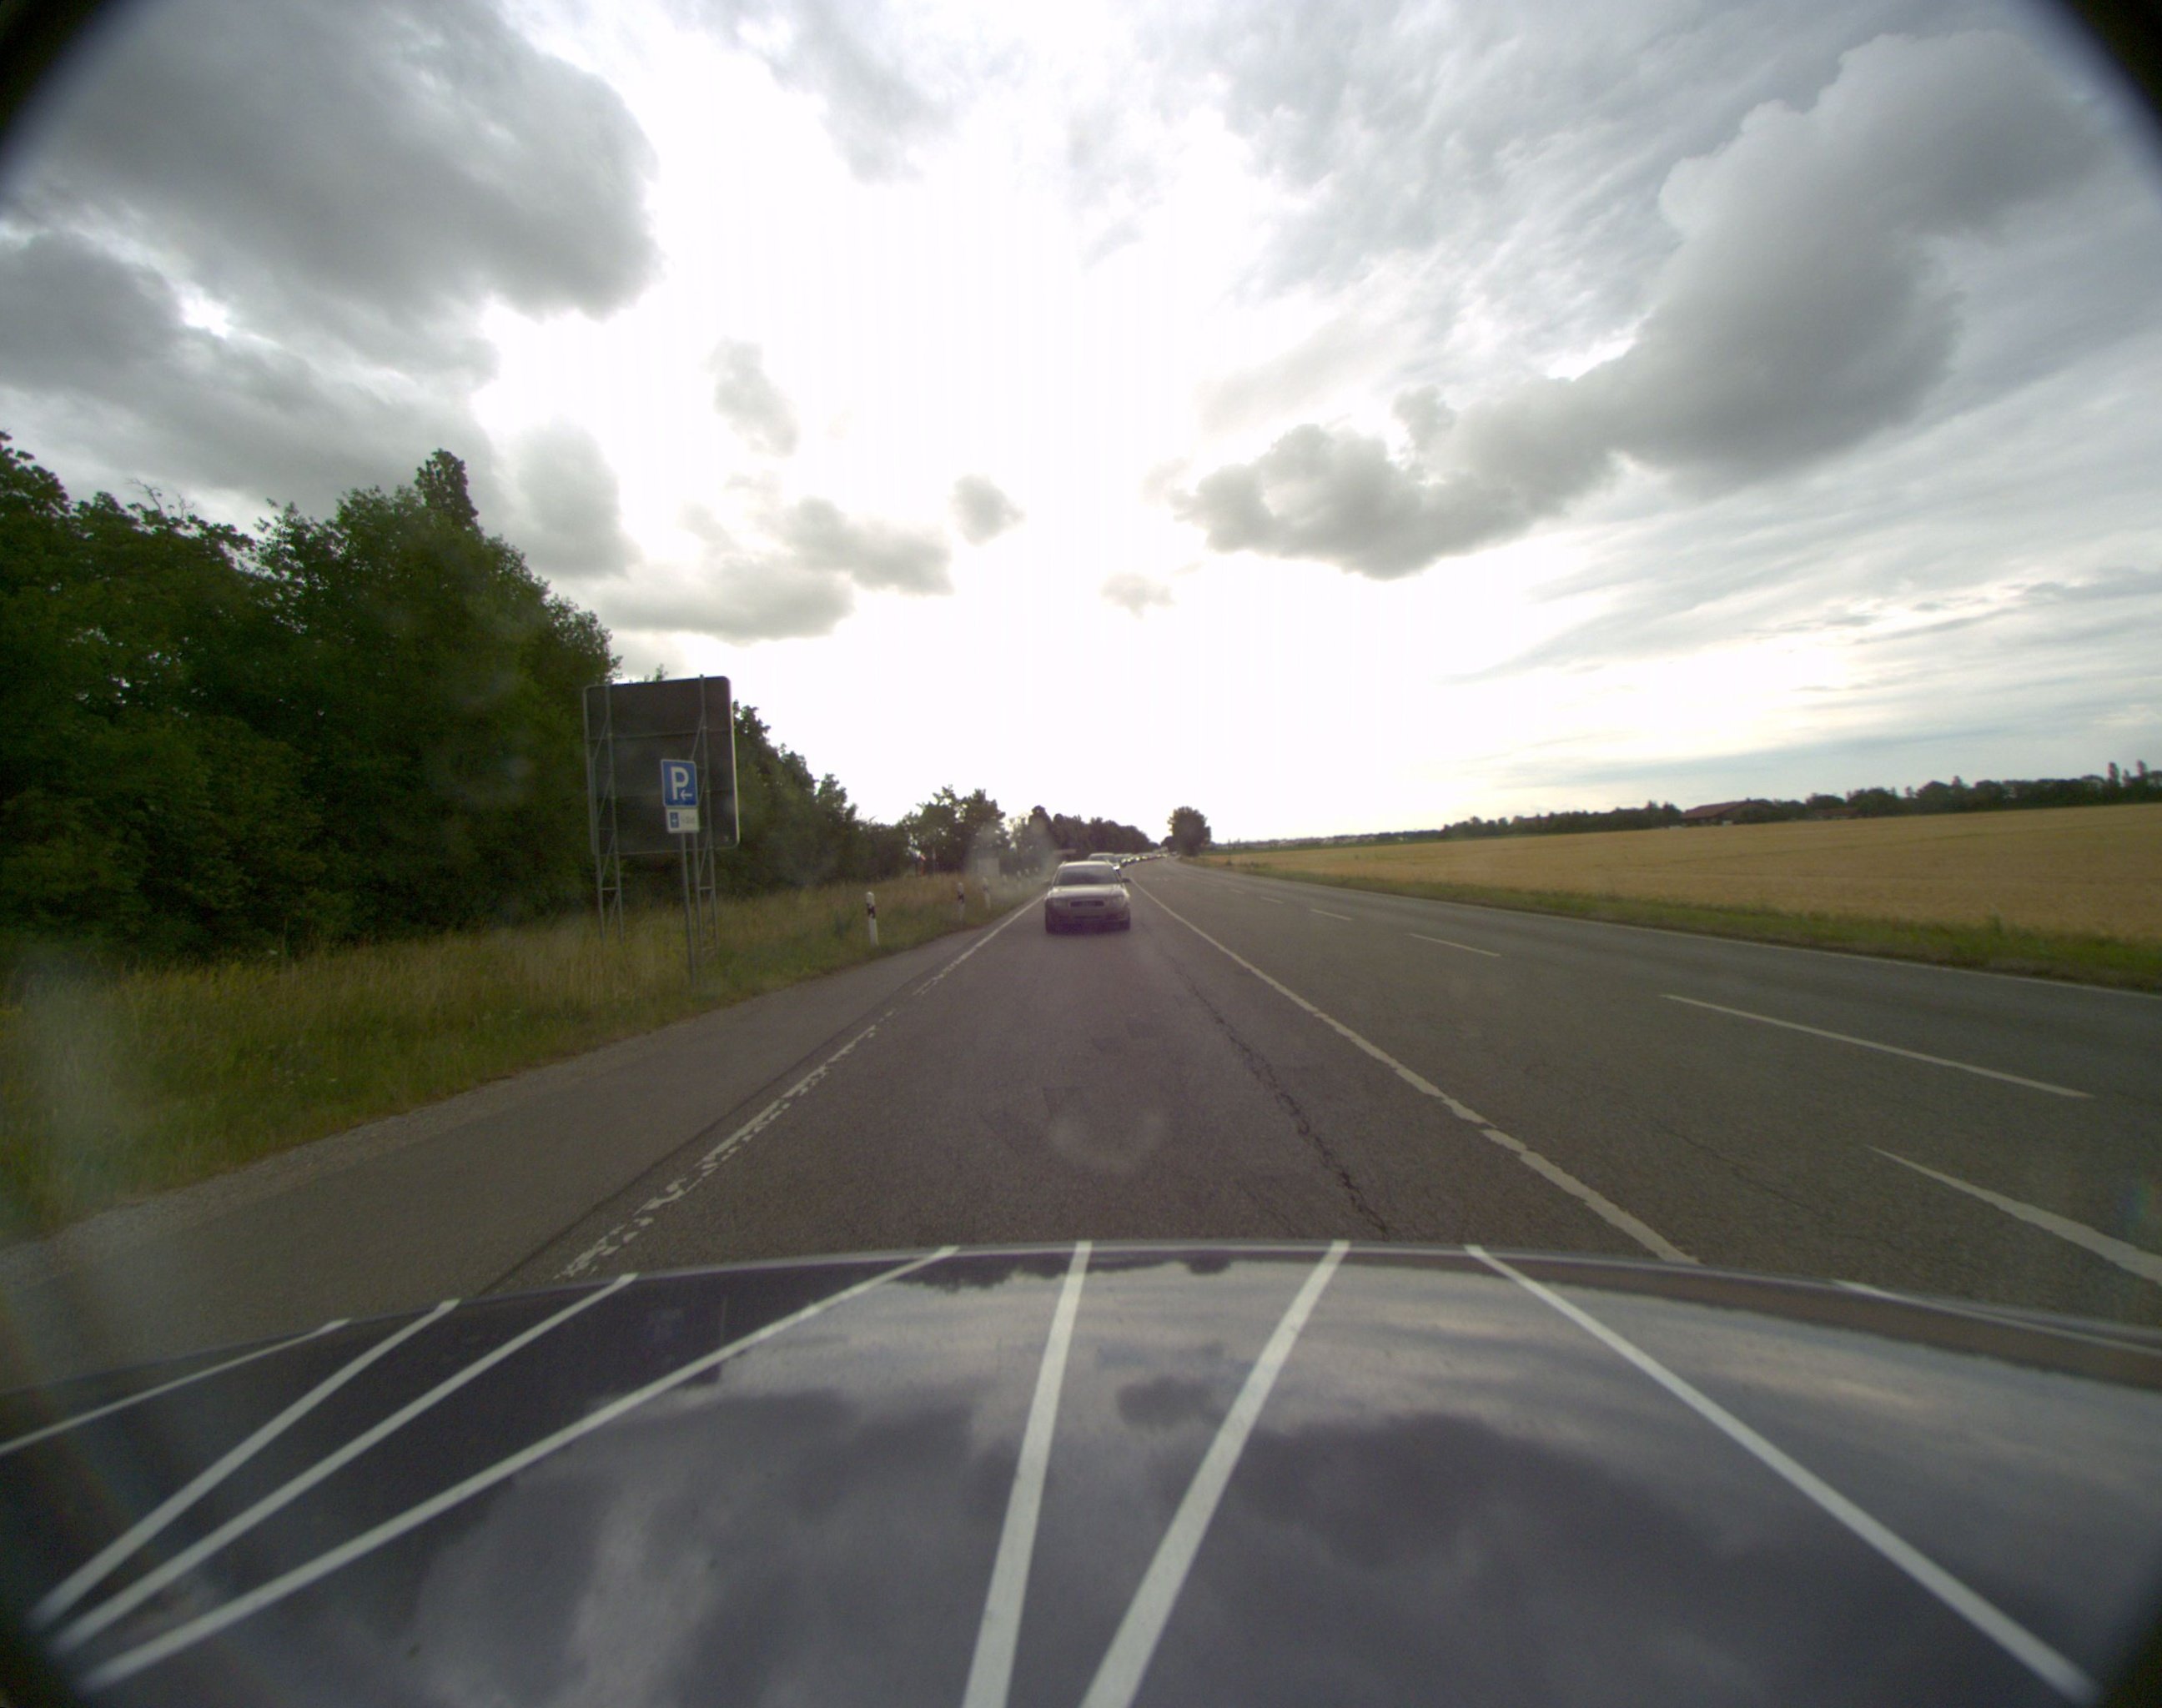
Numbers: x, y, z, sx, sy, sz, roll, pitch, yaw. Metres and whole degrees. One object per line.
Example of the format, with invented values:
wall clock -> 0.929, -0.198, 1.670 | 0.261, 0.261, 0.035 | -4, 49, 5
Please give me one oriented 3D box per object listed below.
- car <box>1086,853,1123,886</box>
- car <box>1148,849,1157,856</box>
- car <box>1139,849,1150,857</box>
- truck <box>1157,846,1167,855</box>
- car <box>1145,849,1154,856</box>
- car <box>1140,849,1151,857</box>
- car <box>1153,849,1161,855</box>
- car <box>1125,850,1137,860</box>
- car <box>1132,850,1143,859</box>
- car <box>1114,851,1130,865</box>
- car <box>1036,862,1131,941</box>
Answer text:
car -> 1.252, 0.769, 40.545 | 1.793, 1.573, 4.368 | -2, 0, 2
car -> 17.930, -0.436, 191.114 | 1.792, 1.573, 4.140 | -2, 0, 11
car -> 13.702, -0.156, 164.071 | 1.792, 1.573, 4.140 | -2, 0, 11
truck -> 25.587, -1.086, 239.305 | 2.318, 2.749, 7.678 | -3, 0, 10
car -> 16.310, -0.351, 180.828 | 1.792, 1.573, 4.140 | -2, 0, 11
car -> 14.666, -0.247, 171.923 | 1.953, 1.573, 4.140 | -2, 0, 12
car -> 21.124, -0.644, 211.314 | 1.792, 1.531, 4.140 | -2, 0, 13
car -> 9.036, 0.145, 136.363 | 1.793, 1.573, 4.139 | -2, 0, 8
car -> 11.095, 0.061, 148.307 | 1.793, 1.573, 4.139 | -2, 0, 8
car -> 5.135, 0.497, 94.666 | 1.793, 1.573, 4.369 | -2, 0, 5
car -> 0.188, 0.946, 16.978 | 1.793, 1.415, 4.368 | -2, 0, 4
